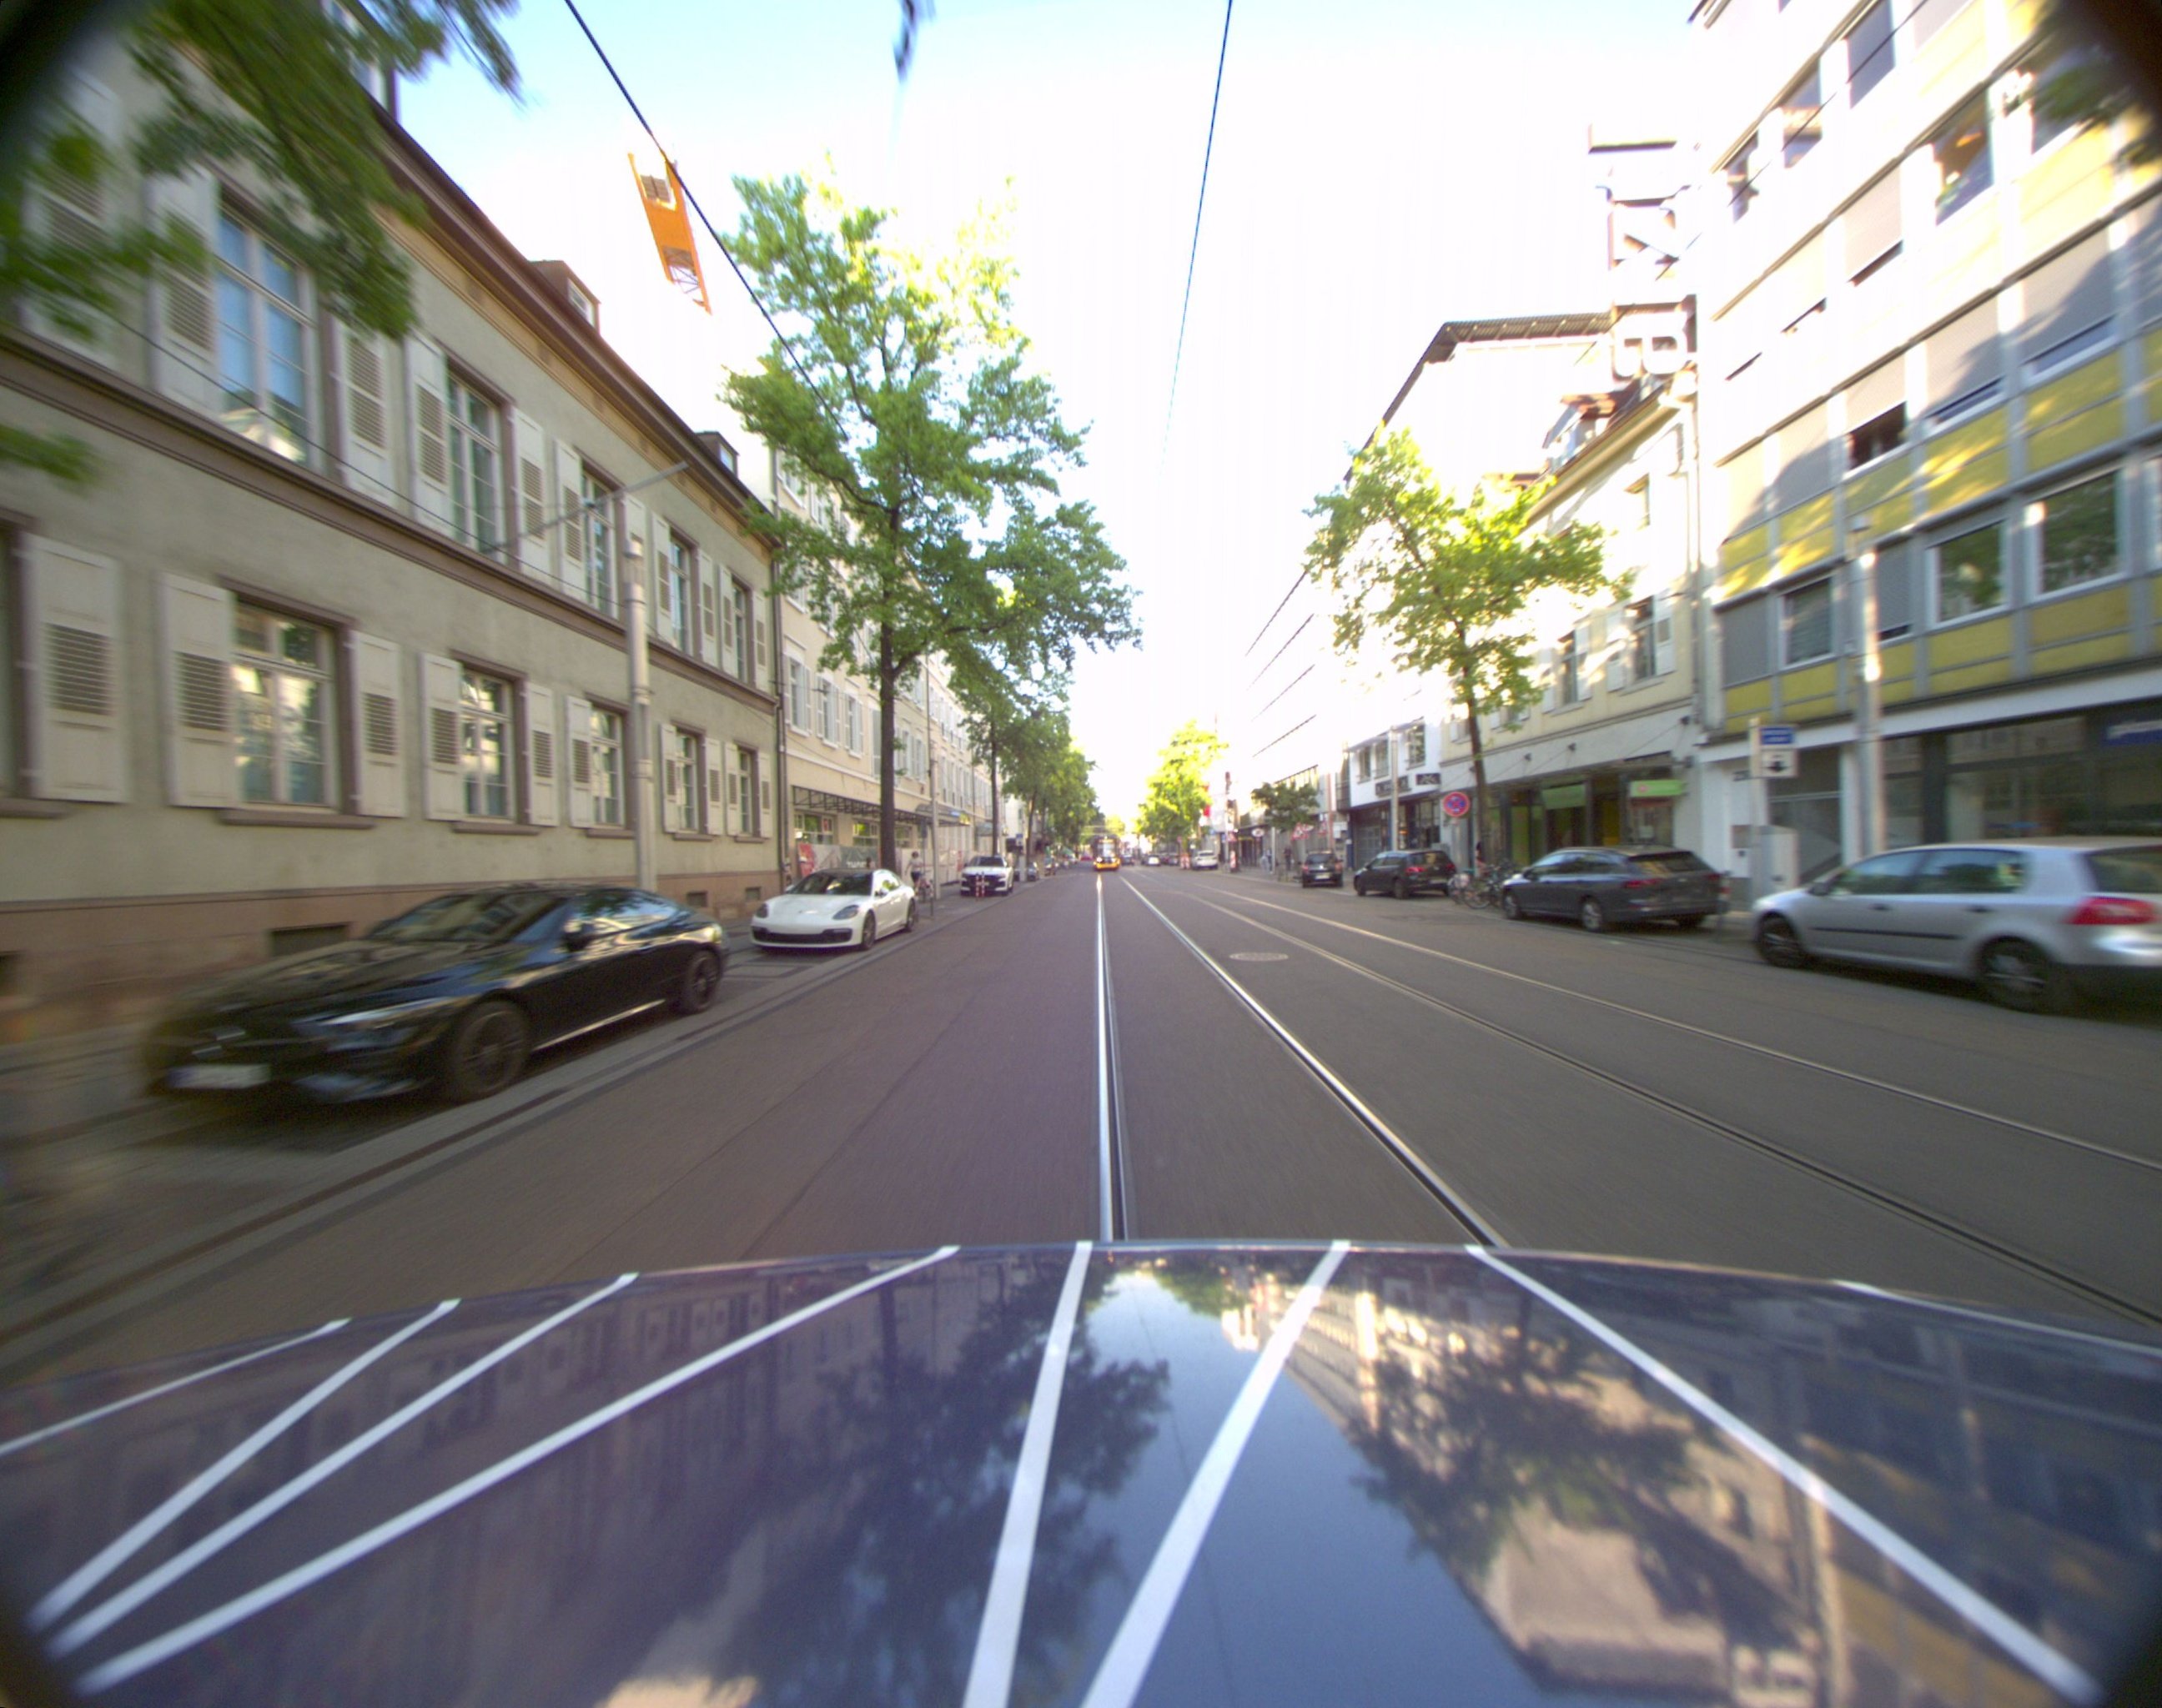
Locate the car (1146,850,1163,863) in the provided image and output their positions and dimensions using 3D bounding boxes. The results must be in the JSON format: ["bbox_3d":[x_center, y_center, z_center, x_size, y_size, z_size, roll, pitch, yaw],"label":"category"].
[{"bbox_3d":[9.303,0.306,96.702,1.889,1.602,4.201,0,0,1],"label":"car"}]

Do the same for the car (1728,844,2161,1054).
[{"bbox_3d":[8.919,0.685,7.598,1.770,1.488,4.177,-2,1,8],"label":"car"}]

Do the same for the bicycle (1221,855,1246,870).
[{"bbox_3d":[11.529,0.617,57.448,1.748,0.986,0.478,-5,0,9],"label":"bicycle"}]

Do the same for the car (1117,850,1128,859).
[{"bbox_3d":[8.376,0.068,152.754,2.039,1.677,4.201,-2,0,1],"label":"car"}]

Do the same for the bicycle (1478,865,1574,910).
[{"bbox_3d":[10.640,0.799,18.214,1.975,0.995,0.419,-2,1,6],"label":"bicycle"}]

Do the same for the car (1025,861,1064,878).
[{"bbox_3d":[-4.033,1.683,83.507,3.937,1.599,1.867,-2,2,8],"label":"car"}]

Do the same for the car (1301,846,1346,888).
[{"bbox_3d":[10.266,0.495,32.327,1.632,1.606,3.712,-3,0,16],"label":"car"}]

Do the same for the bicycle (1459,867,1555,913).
[{"bbox_3d":[9.960,0.837,17.792,1.975,0.995,0.330,-2,1,4],"label":"bicycle"}]

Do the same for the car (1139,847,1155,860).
[{"bbox_3d":[9.507,-0.042,109.151,2.039,1.796,4.201,-1,0,1],"label":"car"}]

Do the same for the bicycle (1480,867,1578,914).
[{"bbox_3d":[10.251,0.828,17.397,1.975,0.995,0.330,-2,1,4],"label":"bicycle"}]

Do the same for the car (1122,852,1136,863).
[{"bbox_3d":[6.623,0.470,105.575,1.783,1.399,4.528,-2,0,2],"label":"car"}]

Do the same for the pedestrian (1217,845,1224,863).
[{"bbox_3d":[15.536,0.002,84.388,0.616,2.002,0.592,-1,0,0],"label":"pedestrian"}]

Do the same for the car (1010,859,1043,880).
[{"bbox_3d":[-3.645,1.001,51.405,1.798,1.304,4.329,0,0,2],"label":"car"}]

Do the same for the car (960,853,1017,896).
[{"bbox_3d":[-3.927,0.839,33.140,2.003,1.678,4.966,0,1,-2],"label":"car"}]

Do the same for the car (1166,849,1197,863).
[{"bbox_3d":[12.720,0.259,96.370,3.403,1.551,1.786,-5,1,-23],"label":"car"}]

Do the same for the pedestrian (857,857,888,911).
[{"bbox_3d":[-6.186,0.870,22.567,0.650,1.564,0.798,-2,1,1],"label":"pedestrian"}]

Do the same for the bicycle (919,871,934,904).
[{"bbox_3d":[-5.515,1.177,27.192,0.419,1.094,1.986,0,1,-8],"label":"bicycle"}]

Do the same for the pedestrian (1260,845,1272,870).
[{"bbox_3d":[13.143,0.229,54.045,0.643,1.703,0.829,-3,1,5],"label":"pedestrian"}]

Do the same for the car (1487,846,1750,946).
[{"bbox_3d":[9.536,0.647,14.030,1.715,1.452,4.486,-3,0,2],"label":"car"}]

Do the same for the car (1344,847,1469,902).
[{"bbox_3d":[10.116,0.587,23.977,1.797,1.481,4.240,-3,0,-5],"label":"car"}]

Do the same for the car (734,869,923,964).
[{"bbox_3d":[-4.637,1.068,14.858,1.917,1.412,4.888,1,0,2],"label":"car"}]

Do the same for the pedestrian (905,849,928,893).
[{"bbox_3d":[-7.178,0.742,33.182,0.714,1.876,1.053,0,1,2],"label":"pedestrian"}]

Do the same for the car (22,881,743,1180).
[{"bbox_3d":[-4.954,1.068,6.614,1.837,1.469,4.761,0,0,1],"label":"car"}]

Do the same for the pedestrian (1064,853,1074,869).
[{"bbox_3d":[-1.441,0.800,89.023,0.771,1.922,0.875,-1,0,29],"label":"pedestrian"}]

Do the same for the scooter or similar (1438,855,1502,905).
[{"bbox_3d":[10.388,0.694,20.327,1.422,1.263,0.375,-3,0,6],"label":"scooter or similar"}]

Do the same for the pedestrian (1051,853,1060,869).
[{"bbox_3d":[-2.985,0.842,89.855,0.597,1.922,0.875,-1,0,29],"label":"pedestrian"}]

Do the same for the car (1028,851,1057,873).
[{"bbox_3d":[-3.309,0.648,65.537,1.956,1.782,4.317,0,0,5],"label":"car"}]

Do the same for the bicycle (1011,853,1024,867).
[{"bbox_3d":[-4.938,0.477,58.818,0.656,1.064,1.672,0,0,-18],"label":"bicycle"}]

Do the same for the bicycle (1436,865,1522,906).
[{"bbox_3d":[10.186,0.809,19.479,1.975,0.995,0.330,-2,1,4],"label":"bicycle"}]

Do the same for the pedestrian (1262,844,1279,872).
[{"bbox_3d":[12.232,0.241,49.119,0.853,1.756,0.832,-2,0,-1],"label":"pedestrian"}]

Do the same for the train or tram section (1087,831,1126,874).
[{"bbox_3d":[2.629,-0.162,79.579,3.607,3.974,15.717,-1,0,2],"label":"train or tram section"}]

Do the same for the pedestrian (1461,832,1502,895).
[{"bbox_3d":[11.933,0.284,22.671,0.661,1.815,0.878,-4,1,2],"label":"pedestrian"}]

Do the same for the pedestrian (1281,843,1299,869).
[{"bbox_3d":[14.318,0.135,52.012,0.834,1.685,1.038,-4,0,2],"label":"pedestrian"}]

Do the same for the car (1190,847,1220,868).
[{"bbox_3d":[11.152,0.308,68.643,1.998,1.744,4.744,-4,0,1],"label":"car"}]

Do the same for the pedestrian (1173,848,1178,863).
[{"bbox_3d":[12.642,0.182,101.529,0.656,1.922,0.723,-1,0,3],"label":"pedestrian"}]
